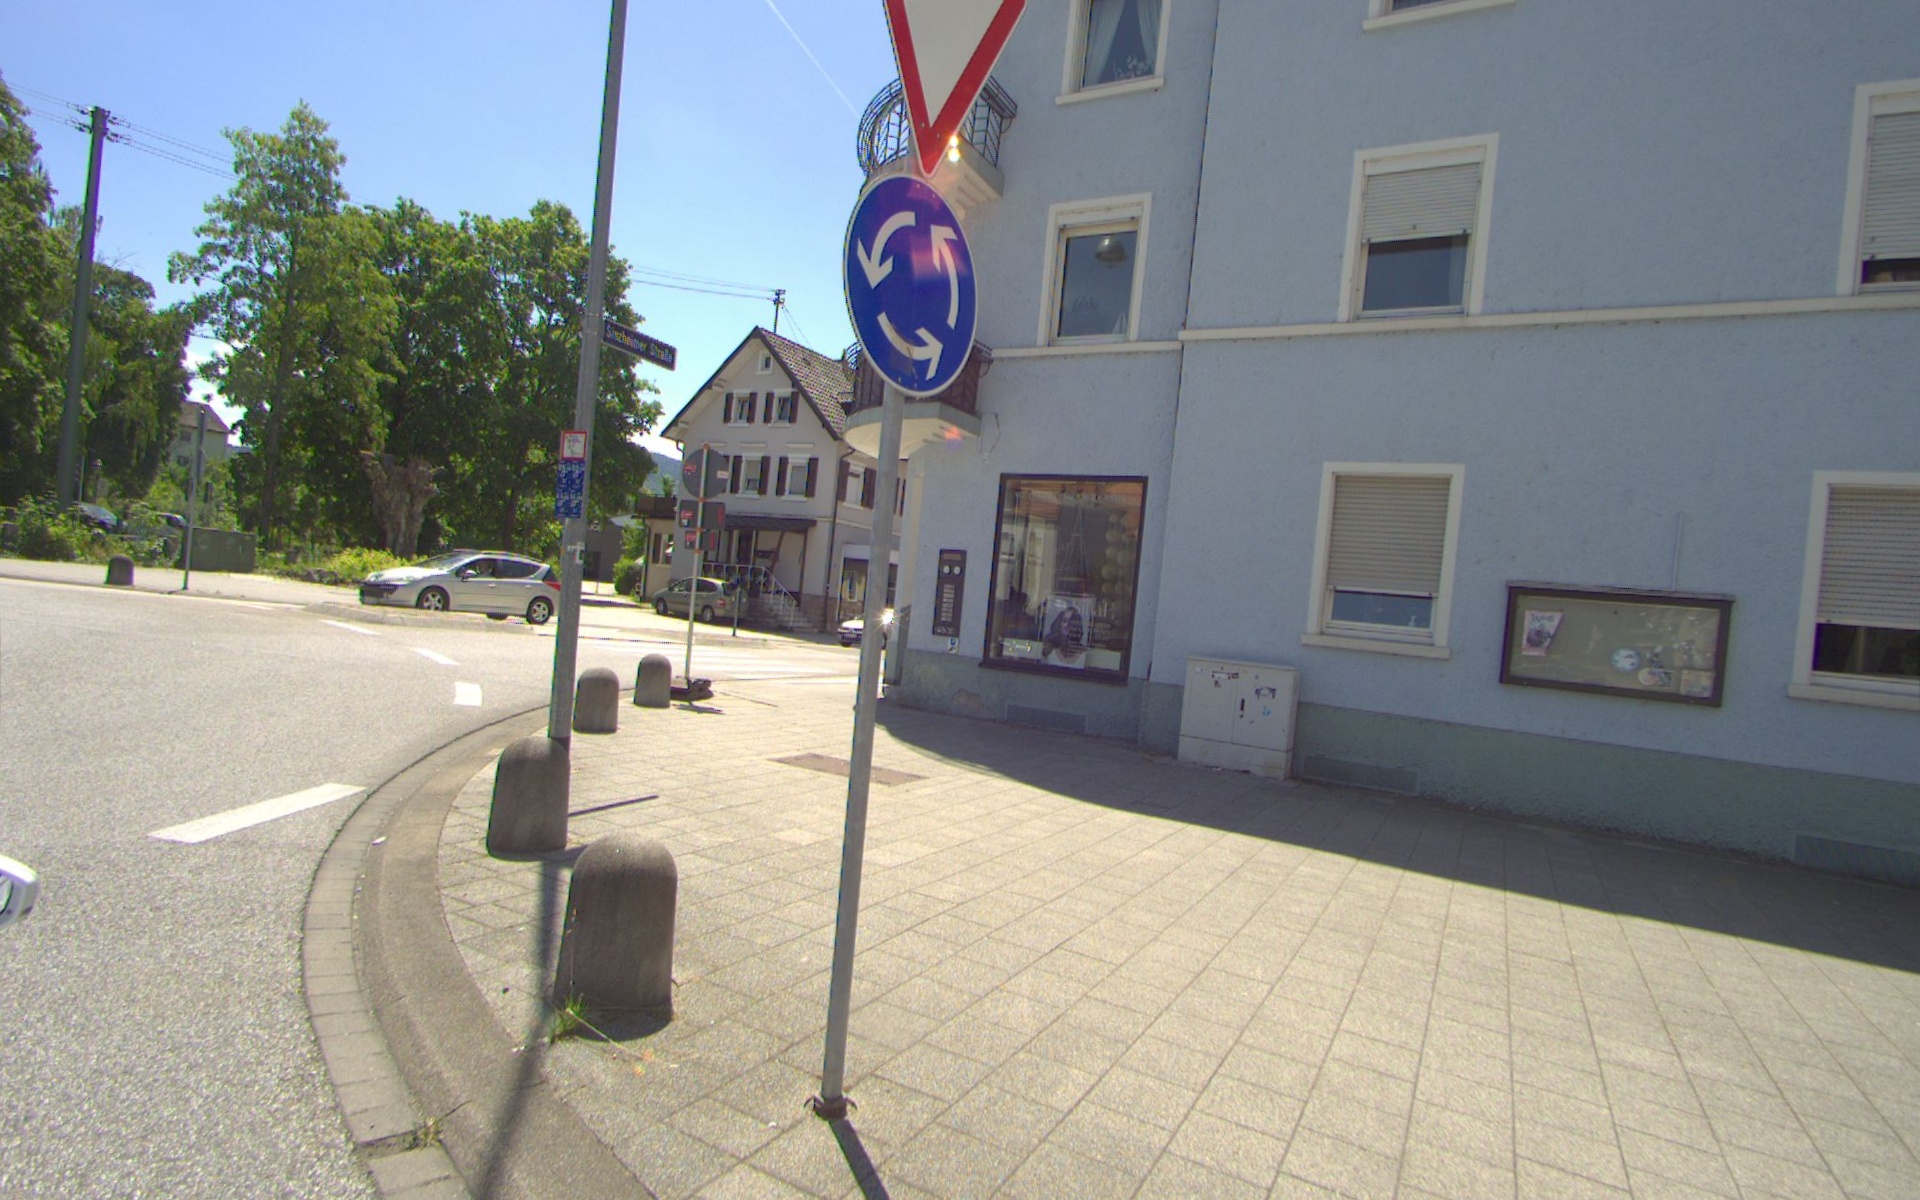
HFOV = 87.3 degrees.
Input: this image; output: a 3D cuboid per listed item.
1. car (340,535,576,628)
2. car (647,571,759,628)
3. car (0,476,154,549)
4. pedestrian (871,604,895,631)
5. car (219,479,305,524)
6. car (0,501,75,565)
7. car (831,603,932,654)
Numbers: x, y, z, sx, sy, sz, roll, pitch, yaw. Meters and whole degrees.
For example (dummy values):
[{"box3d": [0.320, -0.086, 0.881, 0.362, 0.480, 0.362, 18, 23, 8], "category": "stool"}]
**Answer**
[{"box3d": [-10.657, -0.336, 21.686, 1.716, 1.535, 4.200, 7, 0, 30], "category": "car"}, {"box3d": [-9.702, -0.030, 37.903, 3.934, 1.660, 1.754, 6, 0, 32], "category": "car"}, {"box3d": [-32.826, -3.202, 37.333, 3.934, 2.039, 1.996, 7, 0, -11], "category": "car"}, {"box3d": [-3.219, 0.731, 42.093, 0.660, 1.067, 0.699, 7, 1, 27], "category": "pedestrian"}, {"box3d": [-41.233, -5.773, 59.500, 3.962, 2.039, 1.981, 6, 0, -35], "category": "car"}, {"box3d": [-26.238, -1.913, 27.169, 1.603, 1.572, 3.060, 7, 0, 16], "category": "car"}, {"box3d": [-2.631, 1.013, 34.593, 1.523, 1.430, 3.712, 7, 0, 30], "category": "car"}]
